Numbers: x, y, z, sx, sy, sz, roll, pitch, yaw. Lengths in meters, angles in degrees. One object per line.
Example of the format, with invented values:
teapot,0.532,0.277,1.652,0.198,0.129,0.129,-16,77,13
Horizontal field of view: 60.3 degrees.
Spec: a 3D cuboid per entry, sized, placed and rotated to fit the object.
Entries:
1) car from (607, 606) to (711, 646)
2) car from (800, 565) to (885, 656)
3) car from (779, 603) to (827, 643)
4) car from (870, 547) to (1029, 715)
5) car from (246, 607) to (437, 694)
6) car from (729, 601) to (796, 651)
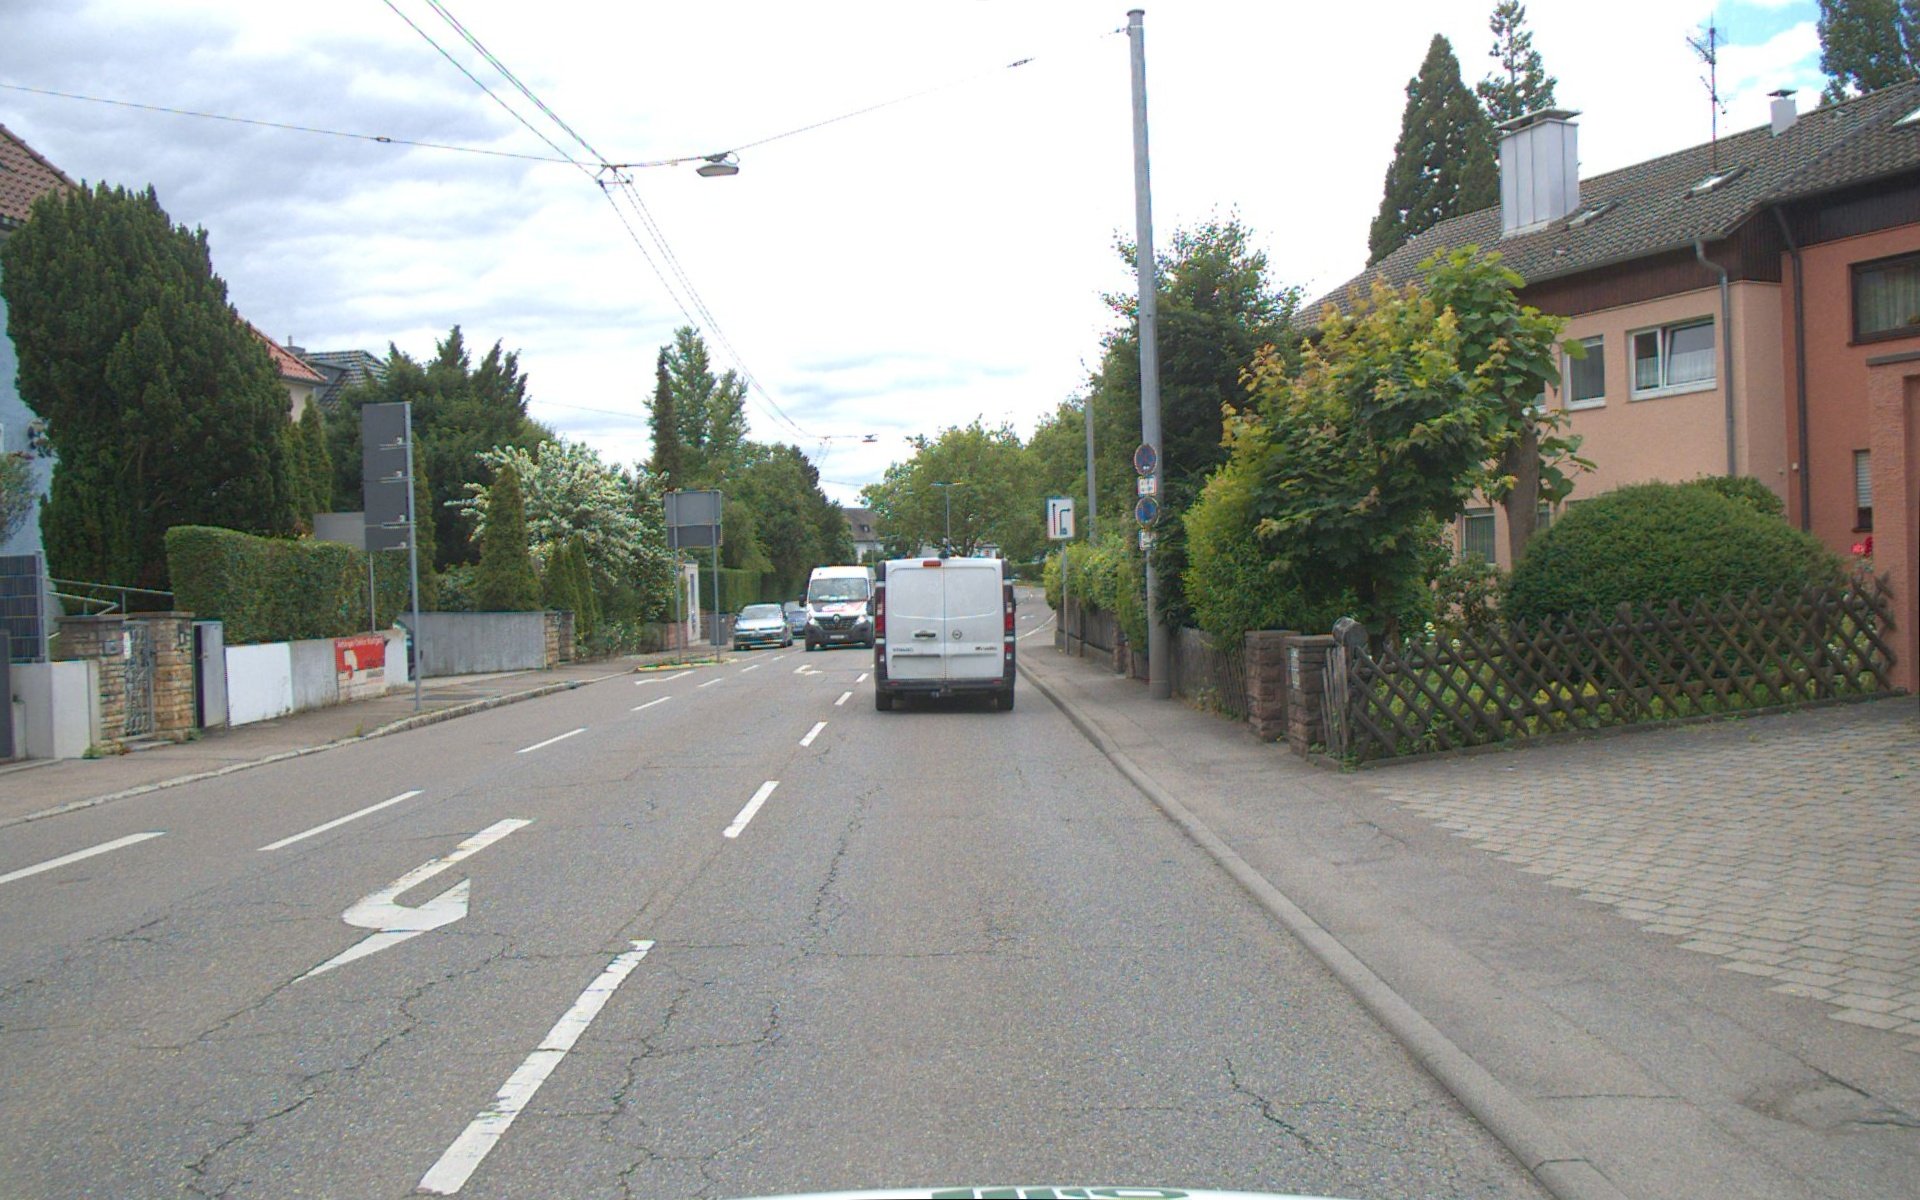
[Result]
car,-11.670,0.999,64.255,3.512,1.415,1.851,-2,0,8
car,-3.480,0.314,50.133,2.068,2.542,6.124,-2,0,0
car,-6.673,0.955,70.586,1.645,1.583,3.970,-3,0,-1
car,-0.192,0.369,23.059,1.966,2.073,5.008,0,0,-2
car,-13.487,1.095,36.142,3.512,1.619,1.644,-4,0,13
car,-6.590,0.843,55.643,1.773,1.480,4.412,-4,0,-2
